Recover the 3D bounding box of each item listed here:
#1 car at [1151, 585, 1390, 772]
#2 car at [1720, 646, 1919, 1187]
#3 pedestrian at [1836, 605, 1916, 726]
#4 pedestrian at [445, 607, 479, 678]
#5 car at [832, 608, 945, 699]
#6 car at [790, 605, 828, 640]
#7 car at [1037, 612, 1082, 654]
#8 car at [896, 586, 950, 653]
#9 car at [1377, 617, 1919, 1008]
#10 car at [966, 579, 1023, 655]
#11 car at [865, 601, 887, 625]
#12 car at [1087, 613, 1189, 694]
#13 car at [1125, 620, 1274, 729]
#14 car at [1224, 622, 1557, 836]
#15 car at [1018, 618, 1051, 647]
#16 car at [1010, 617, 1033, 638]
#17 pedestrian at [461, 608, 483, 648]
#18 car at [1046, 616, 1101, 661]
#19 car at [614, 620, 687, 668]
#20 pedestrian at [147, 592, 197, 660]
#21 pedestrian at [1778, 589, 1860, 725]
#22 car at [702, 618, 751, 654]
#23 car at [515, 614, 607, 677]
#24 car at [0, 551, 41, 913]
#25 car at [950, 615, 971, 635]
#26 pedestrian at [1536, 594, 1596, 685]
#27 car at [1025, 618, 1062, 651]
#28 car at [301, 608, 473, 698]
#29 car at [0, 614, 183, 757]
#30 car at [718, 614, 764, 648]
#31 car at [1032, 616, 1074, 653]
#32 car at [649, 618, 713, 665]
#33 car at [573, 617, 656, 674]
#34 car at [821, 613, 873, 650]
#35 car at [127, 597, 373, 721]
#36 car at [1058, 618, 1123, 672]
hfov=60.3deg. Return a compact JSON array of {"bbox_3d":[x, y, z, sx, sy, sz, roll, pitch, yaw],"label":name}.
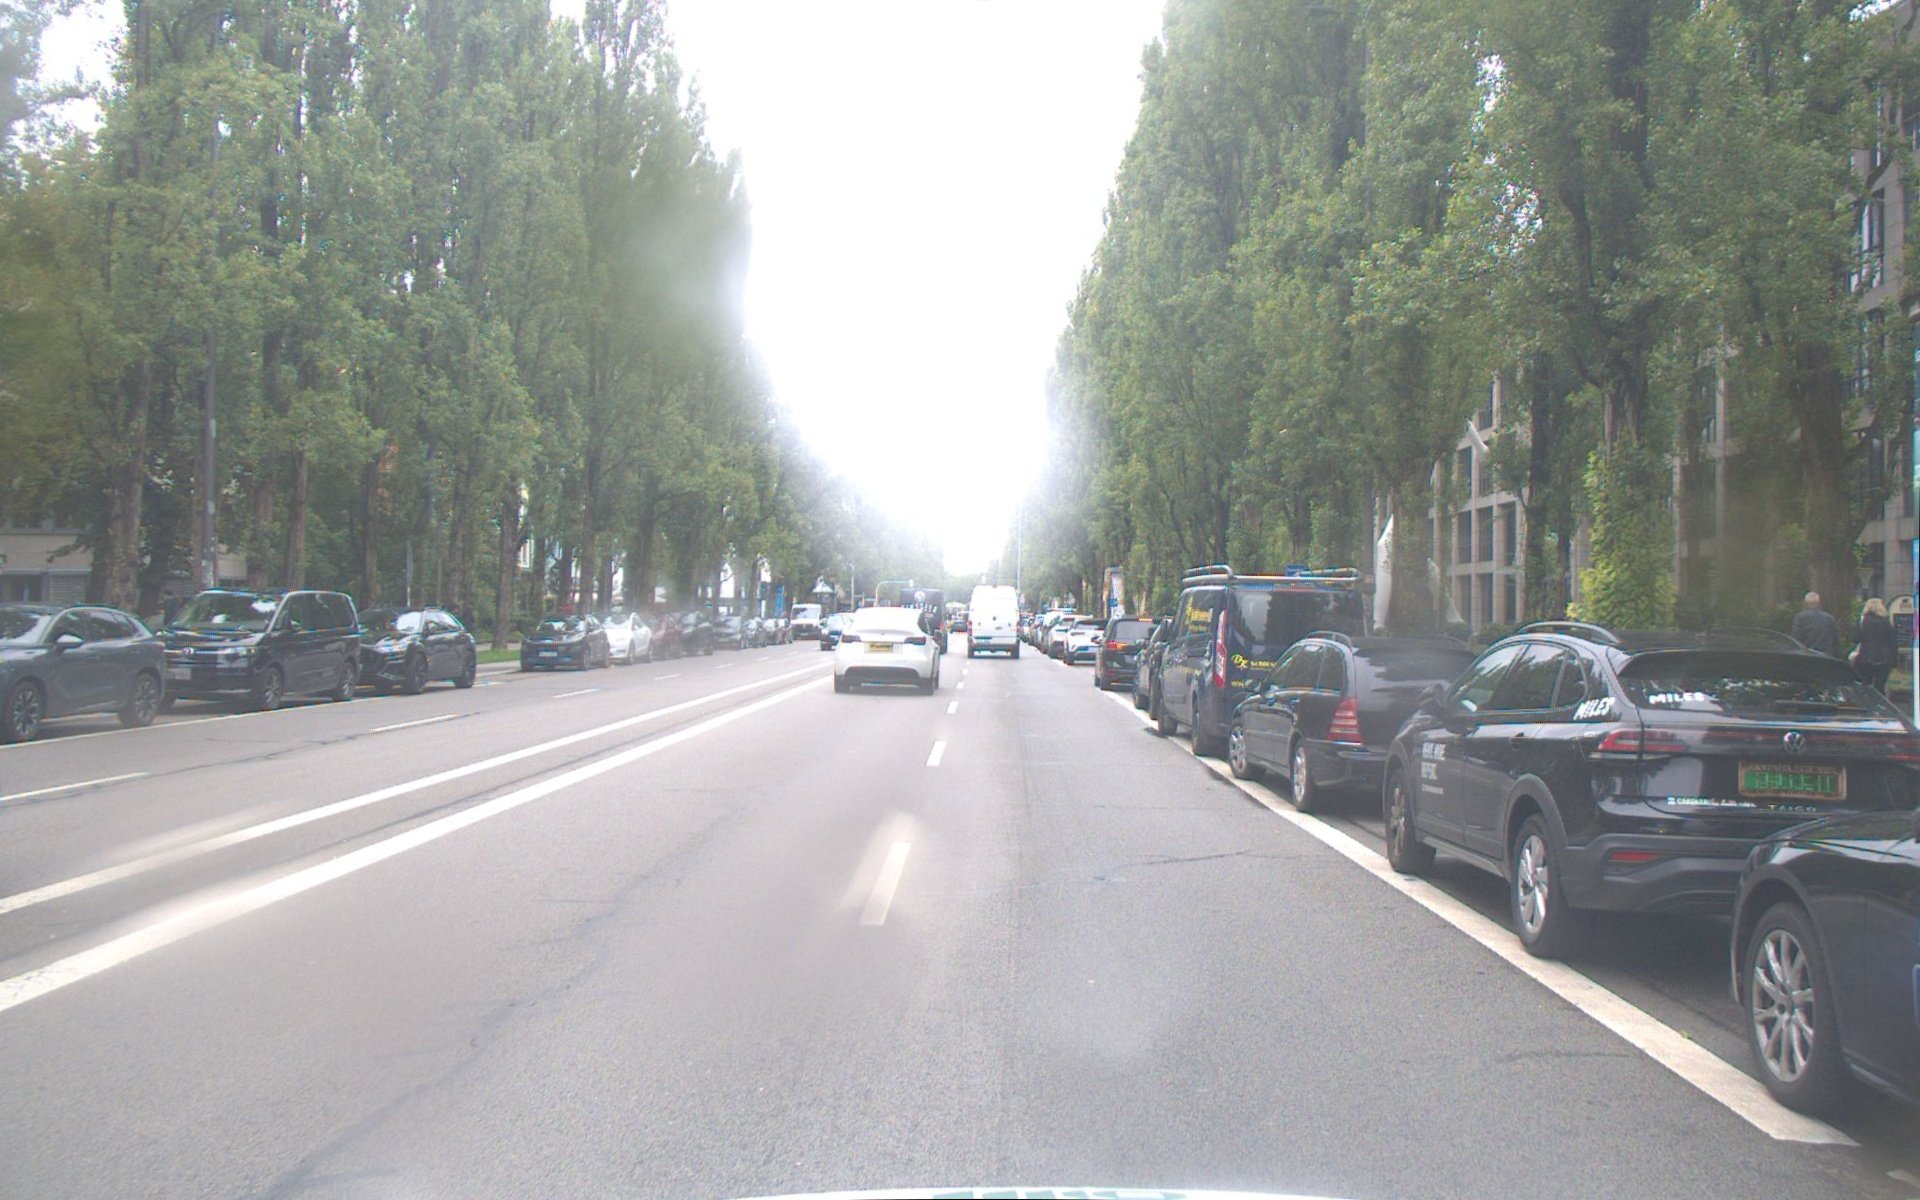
[{"bbox_3d":[3.629,0.880,20.306,1.872,1.958,5.038,2,-1,-1],"label":"car"},{"bbox_3d":[3.435,0.883,3.584,1.714,1.452,4.449,2,-1,3],"label":"car"},{"bbox_3d":[12.585,0.883,22.740,0.681,1.634,0.834,0,-1,5],"label":"pedestrian"},{"bbox_3d":[-11.859,1.011,39.406,0.654,1.686,0.600,0,-1,-5],"label":"pedestrian"},{"bbox_3d":[-1.340,0.999,32.686,1.953,1.603,4.638,2,-1,0],"label":"car"},{"bbox_3d":[-9.855,1.428,108.507,1.952,2.156,5.001,0,1,1],"label":"car"},{"bbox_3d":[4.451,1.468,74.606,1.707,1.818,3.950,2,-1,-1],"label":"car"},{"bbox_3d":[-1.473,0.785,68.040,2.033,2.601,5.931,2,-1,0],"label":"car"},{"bbox_3d":[3.509,0.899,8.721,1.706,1.553,3.908,2,-1,2],"label":"car"},{"bbox_3d":[1.287,0.639,63.222,1.998,2.698,6.042,2,0,1],"label":"car"},{"bbox_3d":[-9.947,1.511,196.557,2.148,2.766,7.001,0,1,1],"label":"car"},{"bbox_3d":[3.822,1.138,36.146,1.707,1.619,3.950,2,-1,-1],"label":"car"},{"bbox_3d":[3.719,1.127,26.307,1.707,1.553,3.950,2,-1,-1],"label":"car"},{"bbox_3d":[3.571,0.997,14.524,1.707,1.553,4.233,2,-1,-1],"label":"car"},{"bbox_3d":[4.573,1.975,101.851,1.707,1.672,3.950,2,-1,-1],"label":"car"},{"bbox_3d":[5.136,2.280,138.076,1.707,1.672,3.950,2,-1,-1],"label":"car"},{"bbox_3d":[-18.368,1.048,62.239,0.579,1.519,0.677,0,-1,1],"label":"pedestrian"},{"bbox_3d":[4.255,1.429,62.530,1.707,1.573,3.950,2,-1,-1],"label":"car"},{"bbox_3d":[-10.753,1.512,57.690,1.725,1.607,3.972,0,-1,1],"label":"car"},{"bbox_3d":[-19.982,0.658,41.957,0.797,1.691,0.897,0,-1,1],"label":"pedestrian"},{"bbox_3d":[11.816,0.774,22.775,0.732,1.835,0.843,0,-1,5],"label":"pedestrian"},{"bbox_3d":[-10.782,1.645,76.658,1.725,1.606,3.461,0,0,1],"label":"car"},{"bbox_3d":[-11.080,1.233,46.123,1.904,1.606,3.607,0,1,-4],"label":"car"},{"bbox_3d":[-5.637,0.631,5.957,1.952,1.746,4.759,-1,-1,0],"label":"car"},{"bbox_3d":[0.005,2.136,143.863,1.707,1.672,3.950,2,-1,-1],"label":"car"},{"bbox_3d":[11.997,0.773,32.771,0.889,1.783,0.860,0,-1,1],"label":"pedestrian"},{"bbox_3d":[4.544,1.869,90.269,1.707,1.672,3.950,2,-1,-1],"label":"car"},{"bbox_3d":[-11.104,0.998,32.406,1.953,1.635,4.351,0,-1,-2],"label":"car"},{"bbox_3d":[-11.525,0.960,20.169,1.952,1.569,4.325,0,-1,1],"label":"car"},{"bbox_3d":[-10.622,1.498,80.419,1.725,1.607,3.461,0,-1,1],"label":"car"},{"bbox_3d":[4.450,1.651,79.982,1.707,1.672,3.950,2,-1,-1],"label":"car"},{"bbox_3d":[-10.625,1.561,63.290,1.725,1.606,3.973,0,1,1],"label":"car"},{"bbox_3d":[-10.792,1.393,51.920,1.725,1.606,3.973,0,1,1],"label":"car"},{"bbox_3d":[-5.066,1.410,74.748,1.953,1.576,4.638,2,-1,0],"label":"car"},{"bbox_3d":[-11.434,0.902,27.058,1.953,1.829,4.761,0,-1,0],"label":"car"},{"bbox_3d":[4.254,1.449,54.387,1.707,1.672,3.950,2,-1,-1],"label":"car"}]
